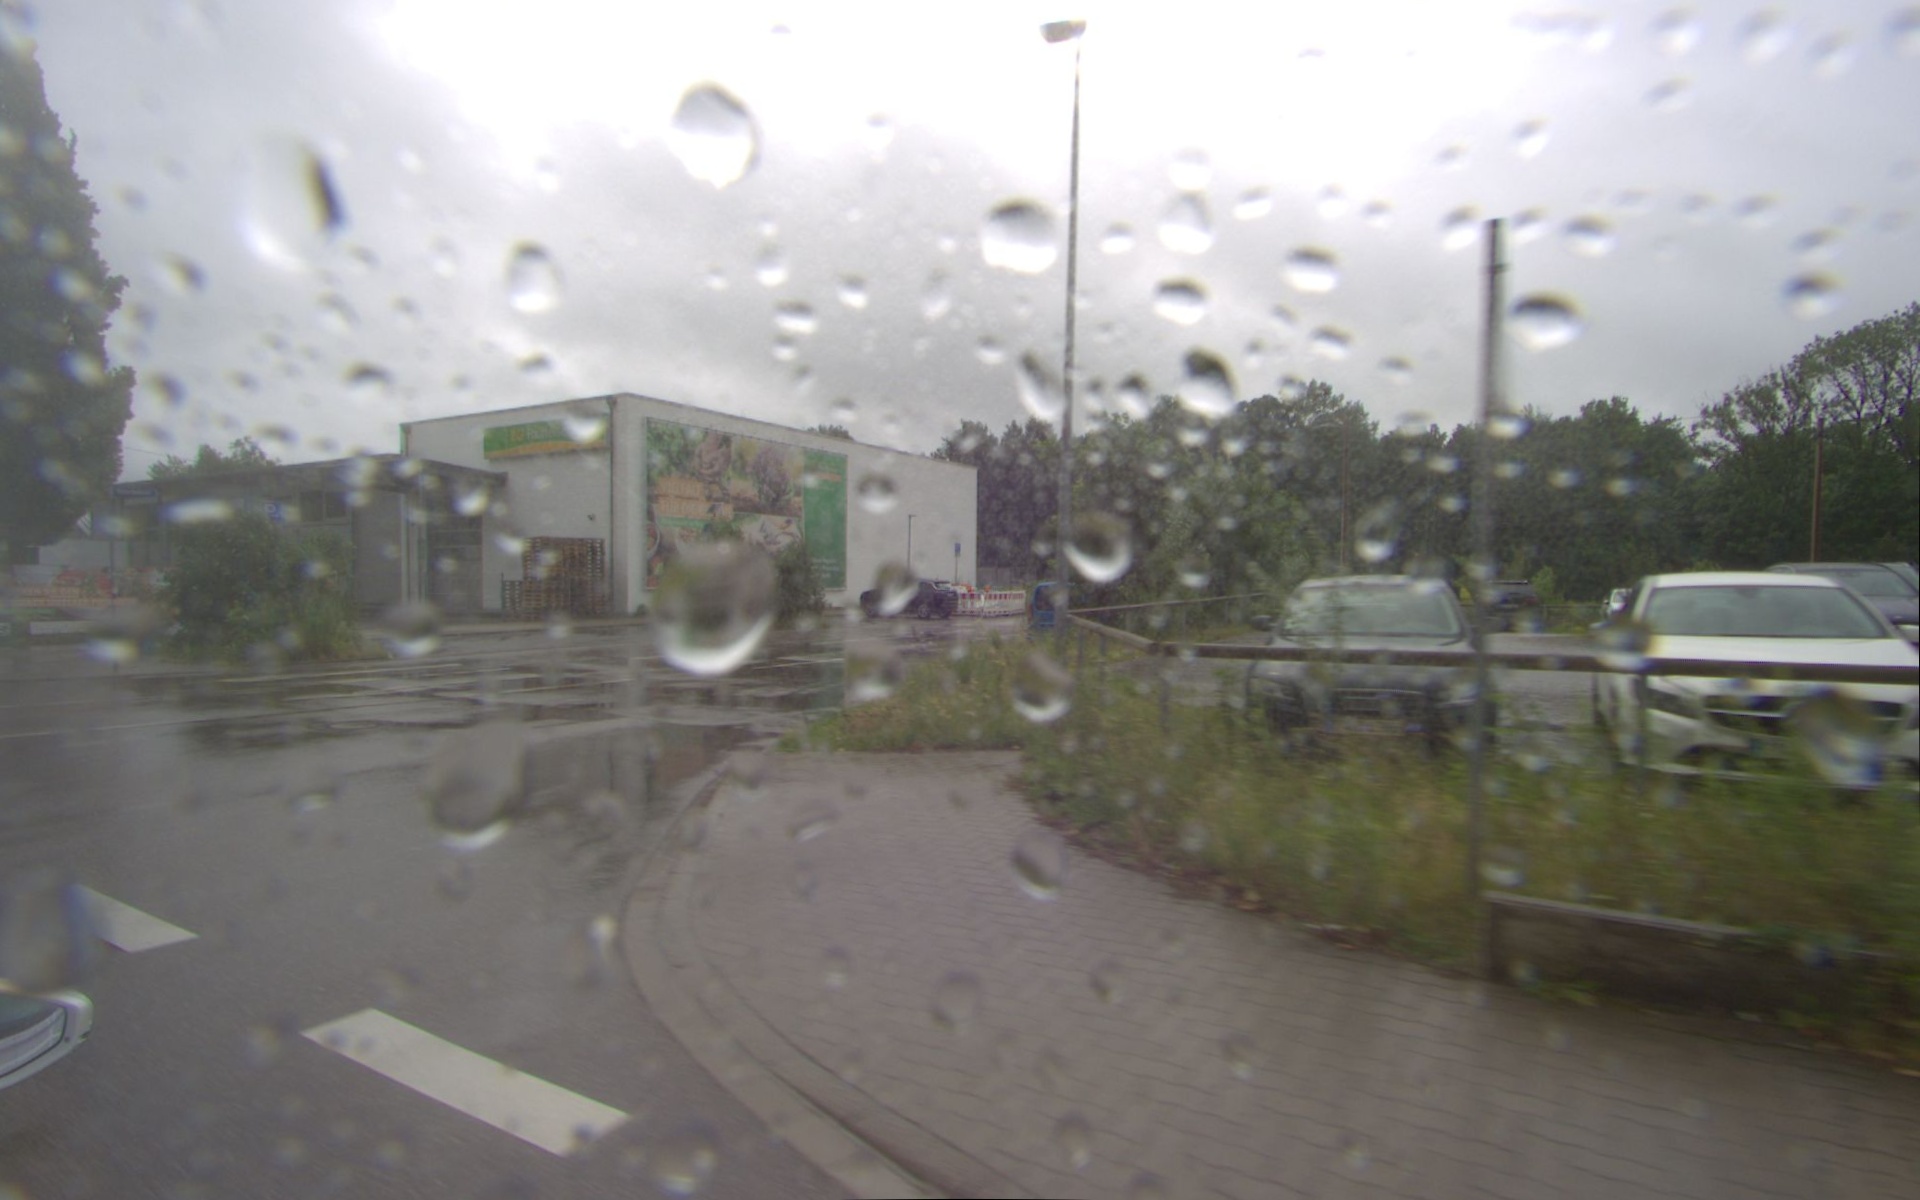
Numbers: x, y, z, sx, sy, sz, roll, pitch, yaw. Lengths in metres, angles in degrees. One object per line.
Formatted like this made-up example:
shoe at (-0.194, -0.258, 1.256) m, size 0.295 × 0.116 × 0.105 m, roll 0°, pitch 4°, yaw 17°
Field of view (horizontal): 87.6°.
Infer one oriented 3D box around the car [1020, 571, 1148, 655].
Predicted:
car at (3.255, 0.277, 25.631) m, size 1.804 × 1.948 × 3.980 m, roll 2°, pitch 2°, yaw 30°

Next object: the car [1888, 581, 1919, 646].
car at (27.180, 0.399, 26.967) m, size 1.865 × 1.752 × 3.987 m, roll 1°, pitch 2°, yaw 22°

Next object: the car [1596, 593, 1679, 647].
car at (20.659, 0.550, 30.667) m, size 1.863 × 1.416 × 3.978 m, roll 3°, pitch 3°, yaw 32°

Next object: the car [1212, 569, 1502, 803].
car at (3.525, 0.505, 8.858) m, size 1.859 × 1.420 × 4.214 m, roll 0°, pitch 3°, yaw 24°

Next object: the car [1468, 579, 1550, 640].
car at (17.657, 0.239, 32.126) m, size 1.864 × 1.744 × 3.975 m, roll 3°, pitch 3°, yaw 34°

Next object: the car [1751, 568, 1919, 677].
car at (13.275, 0.290, 14.880) m, size 1.971 × 1.428 × 3.978 m, roll 0°, pitch 0°, yaw 32°

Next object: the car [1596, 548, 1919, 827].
car at (5.918, 0.475, 7.533) m, size 1.863 × 1.530 × 4.173 m, roll 0°, pitch 0°, yaw 32°

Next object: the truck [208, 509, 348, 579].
truck at (-28.238, -2.285, 41.365) m, size 7.313 × 2.697 × 2.293 m, roll 2°, pitch 4°, yaw 35°

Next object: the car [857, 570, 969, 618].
car at (-1.940, -0.280, 41.227) m, size 4.314 × 1.848 × 1.781 m, roll 2°, pitch 3°, yaw 28°

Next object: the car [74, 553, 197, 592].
car at (-41.400, -1.396, 50.371) m, size 2.033 × 1.858 × 4.351 m, roll 3°, pitch 3°, yaw 33°

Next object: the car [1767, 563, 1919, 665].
car at (17.707, 0.191, 19.751) m, size 2.012 × 1.695 × 4.433 m, roll 0°, pitch 3°, yaw 29°

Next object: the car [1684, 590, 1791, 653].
car at (22.765, 0.551, 29.499) m, size 1.913 × 1.590 × 4.576 m, roll 3°, pitch 3°, yaw 31°

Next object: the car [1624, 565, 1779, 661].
car at (15.413, 0.172, 21.065) m, size 2.012 × 1.695 × 4.433 m, roll 0°, pitch 3°, yaw 29°
